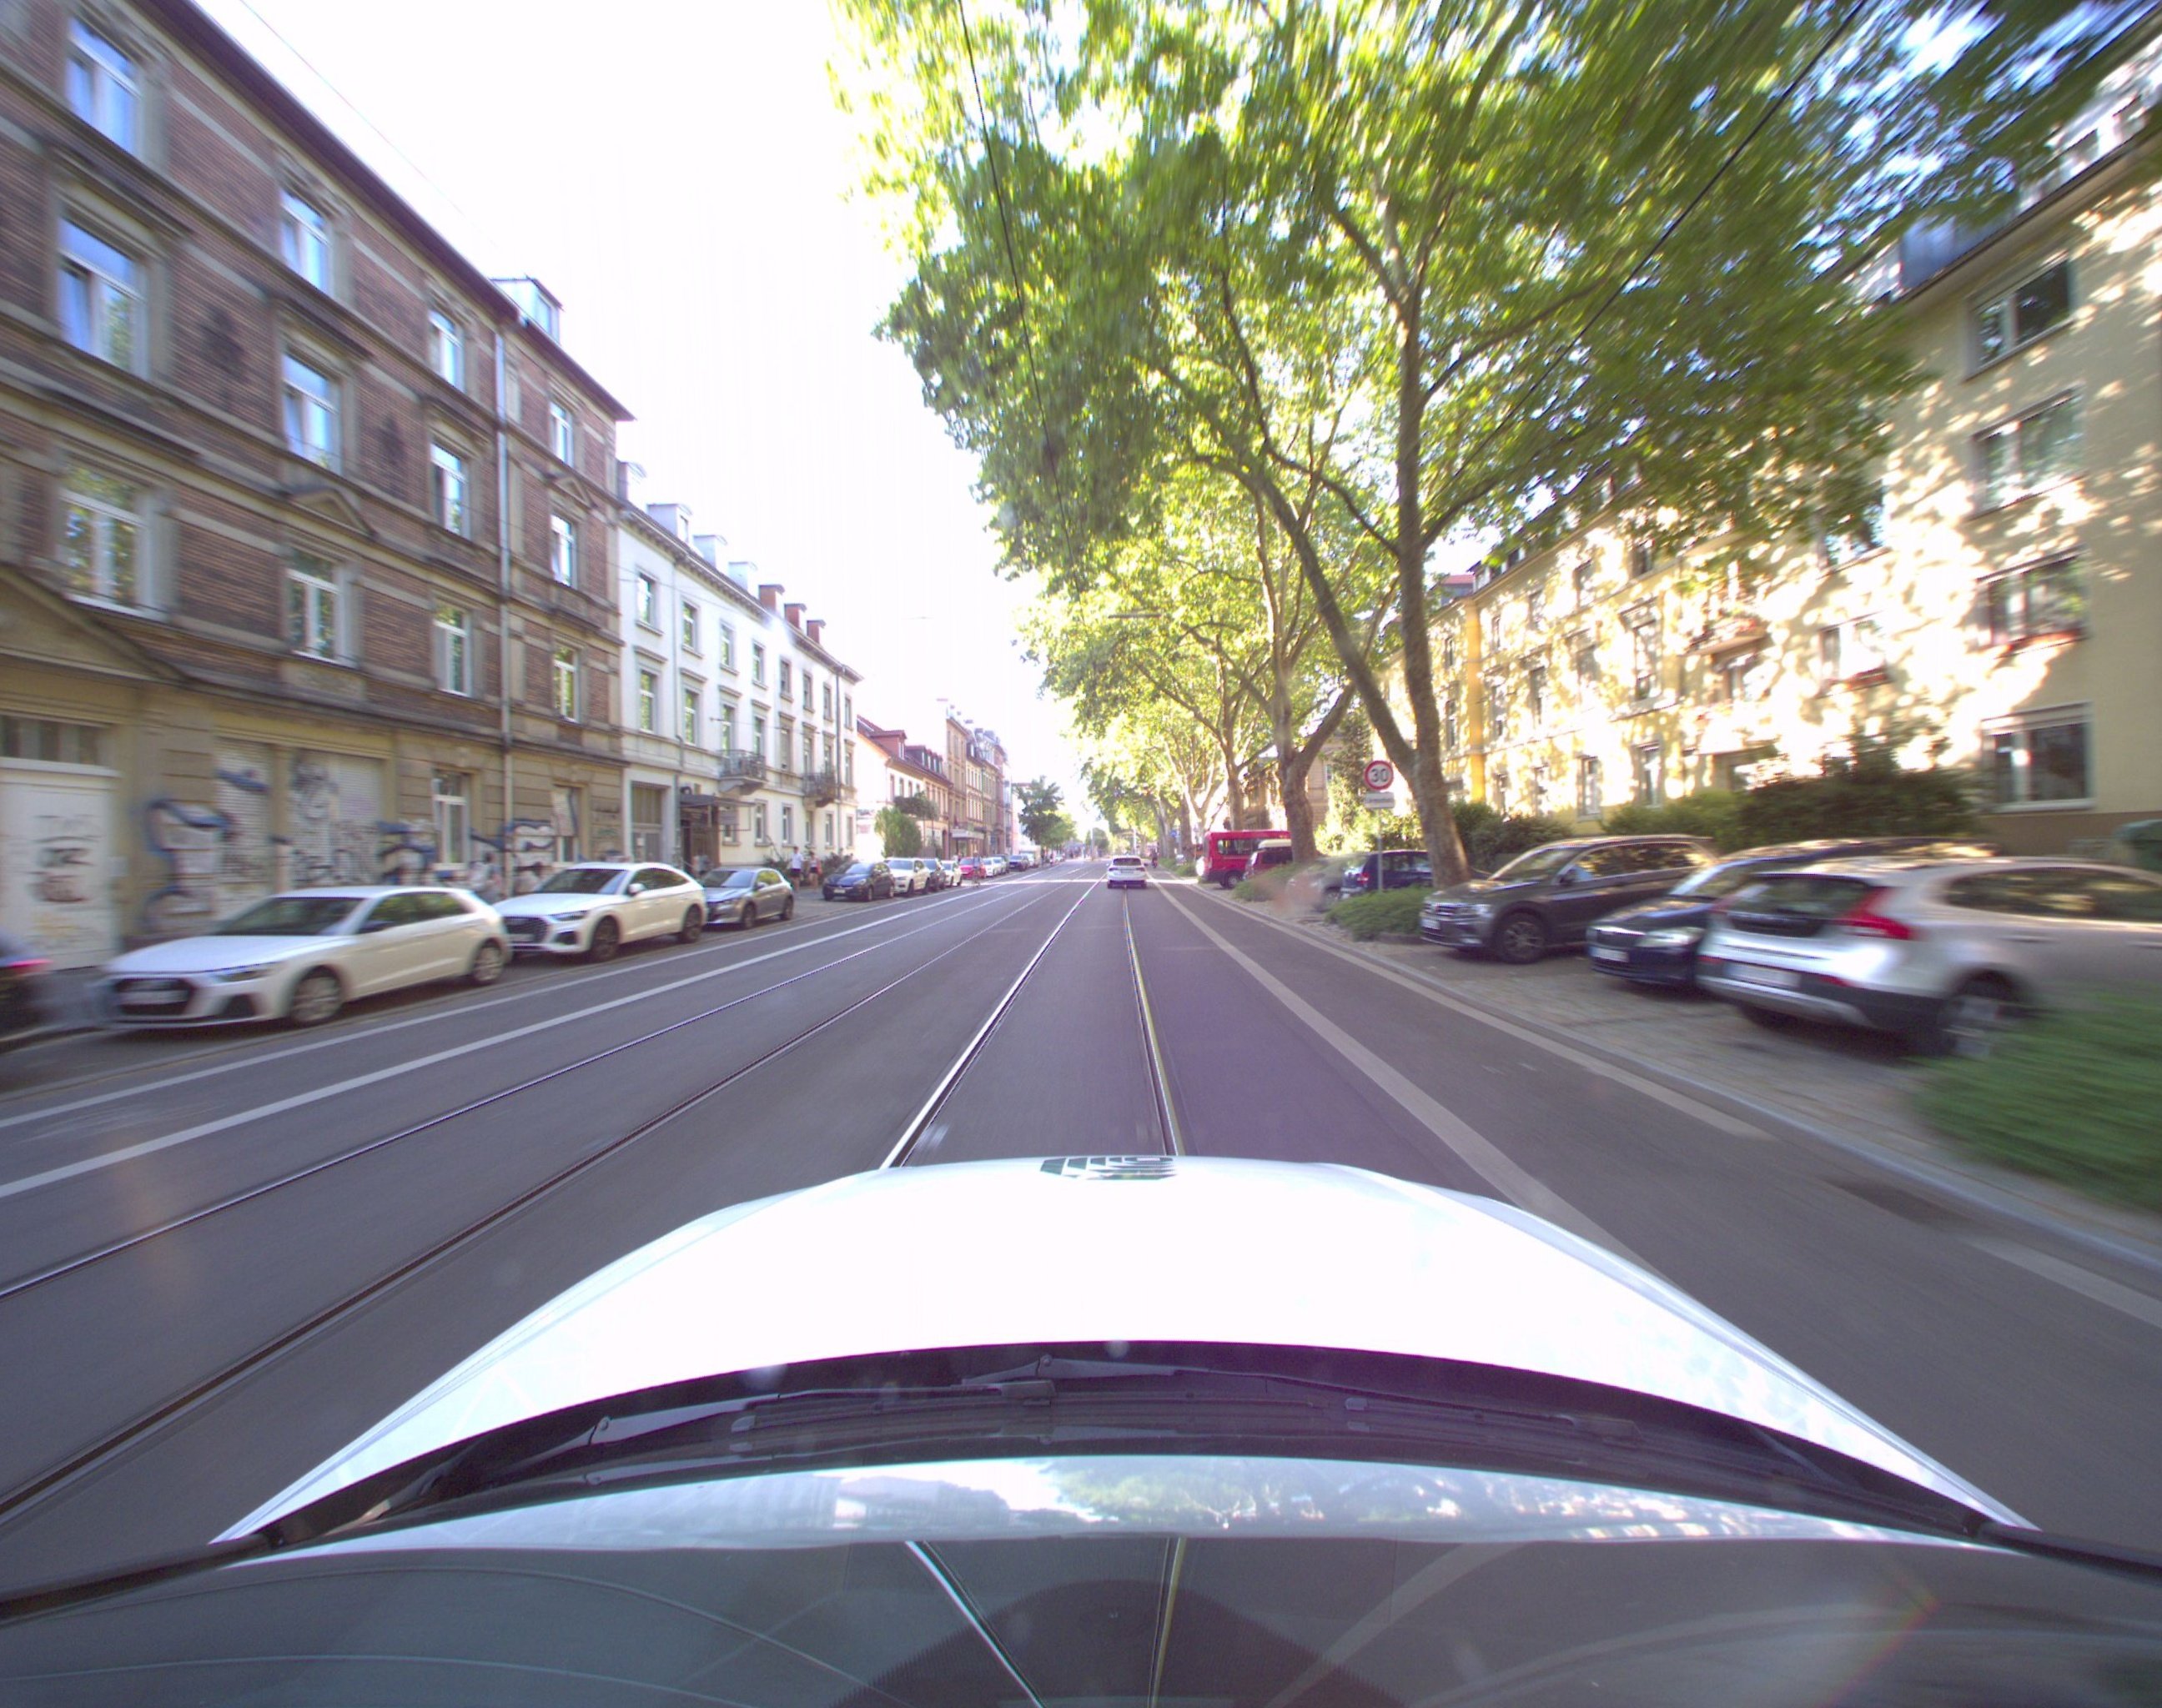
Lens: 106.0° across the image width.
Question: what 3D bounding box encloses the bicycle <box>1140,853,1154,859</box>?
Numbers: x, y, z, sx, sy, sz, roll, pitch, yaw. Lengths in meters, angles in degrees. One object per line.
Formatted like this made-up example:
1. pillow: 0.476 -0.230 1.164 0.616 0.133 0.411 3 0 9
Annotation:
1. bicycle: 12.509 0.398 154.345 2.748 0.999 0.595 0 -1 16

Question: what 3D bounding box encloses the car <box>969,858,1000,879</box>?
1. car: -7.281 1.082 62.017 1.821 1.502 4.688 0 0 0

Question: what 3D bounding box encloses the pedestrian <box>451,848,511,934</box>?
1. pedestrian: -11.911 0.714 16.170 0.656 1.665 0.773 0 -1 33

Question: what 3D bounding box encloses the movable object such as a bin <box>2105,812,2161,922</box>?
1. movable object such as a bin: 14.708 0.144 10.650 1.163 1.437 1.118 -3 0 2

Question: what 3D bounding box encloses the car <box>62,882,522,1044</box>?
1. car: -8.915 1.105 9.799 1.695 1.420 3.997 0 0 -2

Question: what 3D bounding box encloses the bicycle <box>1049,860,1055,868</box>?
1. bicycle: -3.696 1.259 103.789 0.496 0.943 1.923 -3 0 4

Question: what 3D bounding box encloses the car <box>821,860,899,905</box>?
1. car: -8.206 1.019 30.617 1.547 1.515 3.929 -2 0 4

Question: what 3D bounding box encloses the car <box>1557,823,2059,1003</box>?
1. car: 7.740 0.588 8.956 4.015 1.643 1.681 -2 0 0

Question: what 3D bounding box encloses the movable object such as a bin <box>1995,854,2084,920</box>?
1. movable object such as a bin: 14.570 0.490 12.388 0.745 0.943 0.466 -3 0 2

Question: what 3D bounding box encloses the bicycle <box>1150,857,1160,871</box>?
1. bicycle: 6.232 0.853 69.023 0.677 1.155 2.966 0 0 2

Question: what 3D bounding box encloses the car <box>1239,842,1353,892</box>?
1. car: 8.103 0.504 30.932 3.807 1.649 1.766 -3 -2 -1

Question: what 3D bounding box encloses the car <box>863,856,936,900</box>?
1. car: -7.822 0.990 35.565 1.849 1.703 4.766 -2 0 3

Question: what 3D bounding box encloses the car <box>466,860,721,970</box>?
1. car: -8.736 0.981 15.210 1.779 1.723 4.721 0 0 2

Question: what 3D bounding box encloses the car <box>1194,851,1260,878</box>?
1. car: 8.827 0.643 49.485 3.736 1.508 1.682 1 0 2

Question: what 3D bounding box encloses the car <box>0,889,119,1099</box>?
1. car: -9.072 1.064 4.507 1.734 1.562 4.787 0 0 1

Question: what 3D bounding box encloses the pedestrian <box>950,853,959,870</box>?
1. pedestrian: -11.861 0.708 76.267 0.773 1.634 0.654 0 -1 -14

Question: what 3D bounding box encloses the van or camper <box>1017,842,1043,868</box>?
1. van or camper: -6.321 0.178 101.694 2.207 3.140 7.120 0 0 4

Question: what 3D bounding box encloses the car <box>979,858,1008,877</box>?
1. car: -7.155 1.098 67.043 1.820 1.502 4.451 0 0 1

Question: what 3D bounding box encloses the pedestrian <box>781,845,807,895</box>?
1. pedestrian: -11.863 0.655 33.707 0.757 2.013 0.830 -1 0 0

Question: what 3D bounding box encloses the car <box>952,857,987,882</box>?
1. car: -7.700 1.045 56.287 1.561 1.562 3.454 -2 0 6

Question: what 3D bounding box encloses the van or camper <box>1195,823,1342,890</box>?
1. van or camper: 8.078 0.096 35.514 5.797 2.519 2.287 -3 1 -1

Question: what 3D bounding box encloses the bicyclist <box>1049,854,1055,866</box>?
1. bicyclist: -3.704 0.736 103.659 0.635 1.503 1.070 -2 -1 3

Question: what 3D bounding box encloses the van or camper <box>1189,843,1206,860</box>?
1. van or camper: 16.547 -0.319 115.828 2.018 2.464 5.114 0 0 4

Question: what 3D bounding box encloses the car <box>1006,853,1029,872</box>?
1. car: -6.499 0.860 83.610 1.957 1.781 4.937 1 0 0

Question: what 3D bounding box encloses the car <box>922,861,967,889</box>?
1. car: -7.678 1.156 46.203 1.680 1.477 4.260 0 0 2

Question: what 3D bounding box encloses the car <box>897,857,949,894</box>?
1. car: -7.847 1.018 40.789 1.852 1.703 4.654 -2 0 -3

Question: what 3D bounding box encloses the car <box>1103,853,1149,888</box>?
1. car: 1.967 0.699 36.220 1.836 1.480 3.838 0 0 0

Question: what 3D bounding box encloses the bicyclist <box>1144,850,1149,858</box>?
1. bicyclist: 12.417 -0.028 154.393 0.731 1.589 0.589 -2 0 14

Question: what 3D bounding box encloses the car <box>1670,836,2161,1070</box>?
1. car: 7.280 0.662 6.431 4.014 1.480 1.681 -2 0 0

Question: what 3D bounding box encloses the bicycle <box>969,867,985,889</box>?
1. bicycle: -5.339 1.228 41.818 0.479 1.086 1.847 -1 0 3

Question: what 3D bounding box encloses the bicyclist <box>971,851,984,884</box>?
1. bicyclist: -5.331 0.687 41.984 0.471 1.636 0.800 -1 0 3

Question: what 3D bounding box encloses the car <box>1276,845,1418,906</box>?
1. car: 7.913 0.618 24.462 3.657 1.523 1.694 -4 0 1

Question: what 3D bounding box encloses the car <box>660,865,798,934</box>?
1. car: -8.602 1.042 20.289 1.657 1.521 4.063 0 0 0

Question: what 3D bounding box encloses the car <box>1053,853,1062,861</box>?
1. car: -4.767 0.631 165.188 1.788 1.726 3.784 0 0 1

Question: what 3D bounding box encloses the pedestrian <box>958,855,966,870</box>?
1. pedestrian: -11.154 0.796 76.475 0.636 1.460 0.654 0 -1 -14

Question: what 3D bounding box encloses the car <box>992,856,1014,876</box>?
1. car: -6.817 1.008 71.518 1.550 1.732 3.686 0 0 1

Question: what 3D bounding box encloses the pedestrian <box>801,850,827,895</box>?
1. pedestrian: -10.978 0.750 33.529 0.757 1.821 0.829 -1 0 -1

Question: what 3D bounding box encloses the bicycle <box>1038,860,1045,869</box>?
1. bicycle: -4.766 1.230 98.466 0.482 1.047 2.041 -3 0 4

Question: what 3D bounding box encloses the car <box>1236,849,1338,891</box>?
1. car: 8.427 0.632 33.524 3.723 1.530 1.668 -2 0 -1

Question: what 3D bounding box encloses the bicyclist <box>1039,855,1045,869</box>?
1. bicyclist: -4.693 0.925 98.680 0.533 1.634 0.897 -3 -1 4

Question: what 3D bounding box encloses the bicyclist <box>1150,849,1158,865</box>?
1. bicyclist: 6.218 0.251 69.106 0.676 1.339 0.525 0 -1 2

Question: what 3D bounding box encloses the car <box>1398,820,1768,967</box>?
1. car: 7.198 0.535 12.004 4.249 1.719 1.848 -4 0 -1

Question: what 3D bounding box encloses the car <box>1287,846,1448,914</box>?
1. car: 7.396 0.656 21.281 3.582 1.517 1.694 -3 0 1

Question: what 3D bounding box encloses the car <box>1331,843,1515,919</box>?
1. car: 7.798 0.609 18.800 3.581 1.599 1.541 -2 -1 2
